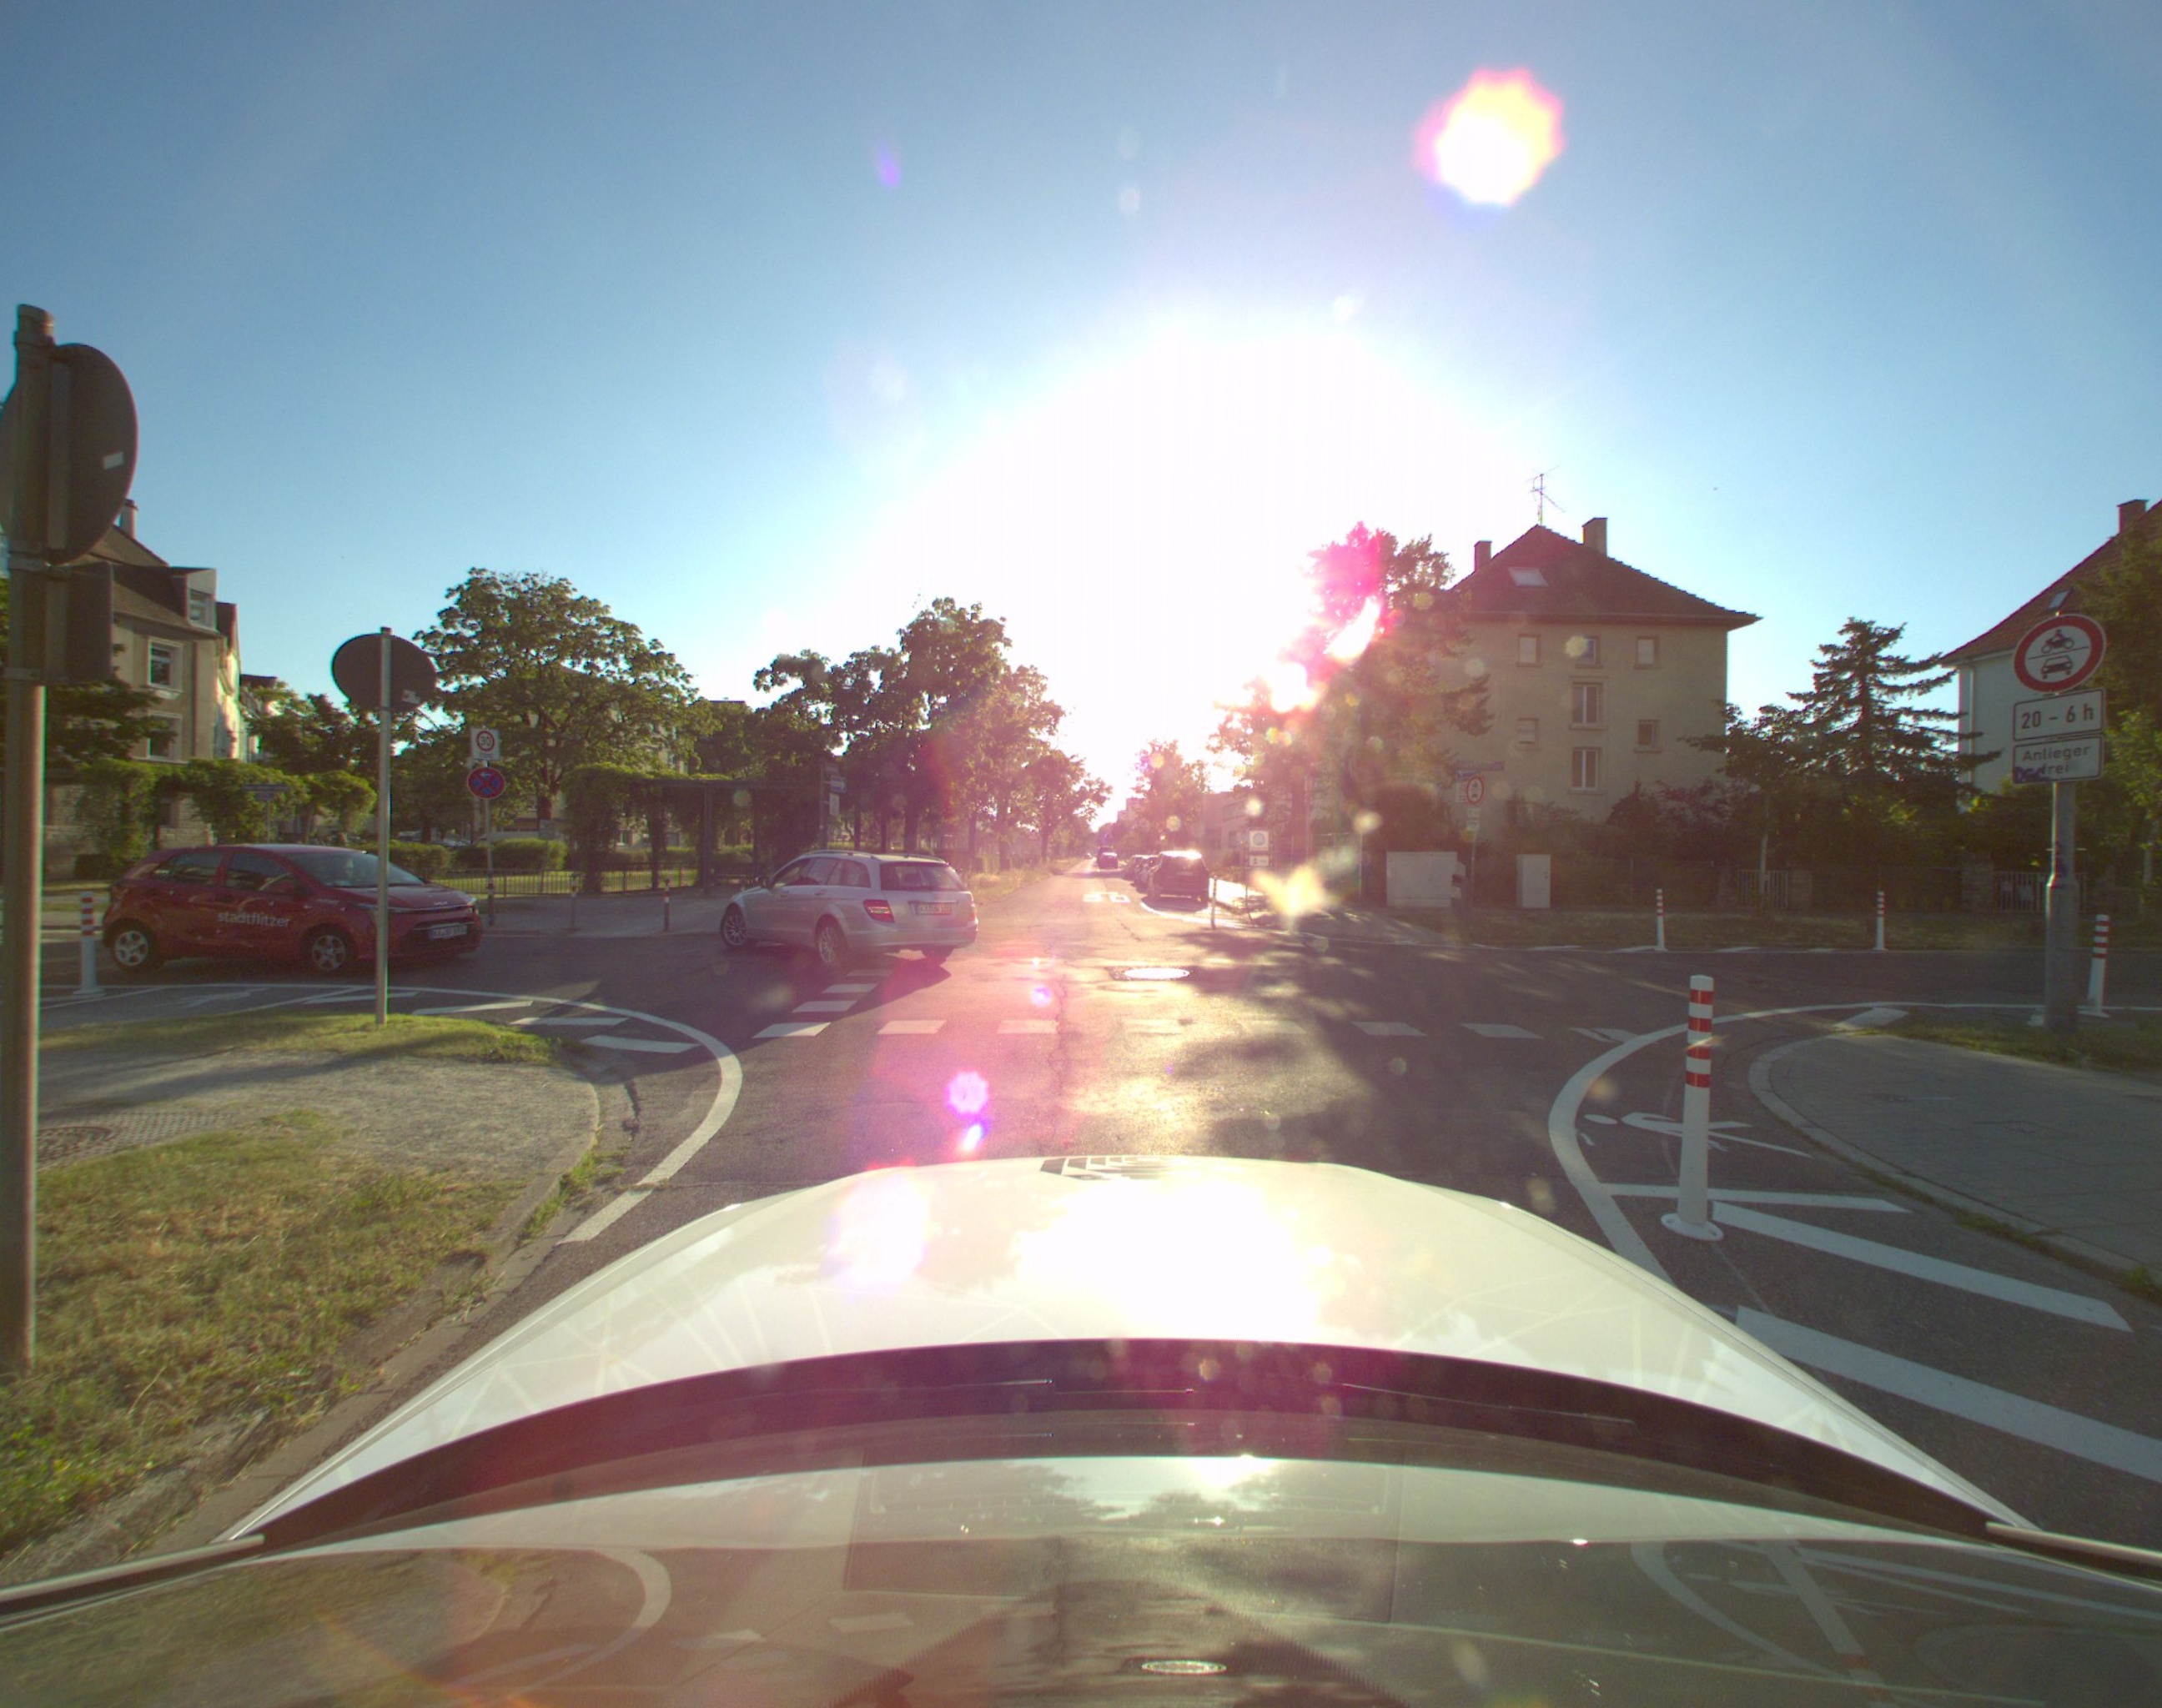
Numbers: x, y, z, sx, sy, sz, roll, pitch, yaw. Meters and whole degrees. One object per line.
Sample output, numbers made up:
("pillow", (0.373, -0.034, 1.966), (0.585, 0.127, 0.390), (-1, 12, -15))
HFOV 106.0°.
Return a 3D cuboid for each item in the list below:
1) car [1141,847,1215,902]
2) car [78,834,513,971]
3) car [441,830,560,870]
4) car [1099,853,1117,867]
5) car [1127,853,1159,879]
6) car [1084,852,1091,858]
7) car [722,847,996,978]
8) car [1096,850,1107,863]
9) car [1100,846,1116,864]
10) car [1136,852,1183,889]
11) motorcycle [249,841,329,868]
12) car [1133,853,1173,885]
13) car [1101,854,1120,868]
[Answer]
("car", (3.205, 0.654, 27.745), (1.812, 1.641, 4.213), (3, 0, -2))
("car", (-9.495, 0.559, 10.065), (3.744, 1.526, 1.772), (0, 0, 3))
("car", (-41.599, -0.259, 58.636), (6.707, 2.745, 2.296), (1, 0, -29))
("car", (2.923, 0.617, 89.663), (1.725, 1.518, 3.757), (1, 0, -2))
("car", (3.827, 0.707, 50.701), (1.759, 1.526, 3.773), (0, 0, 0))
("car", (1.840, 0.275, 233.029), (1.860, 1.618, 3.999), (1, 0, 0))
("car", (-3.208, 0.654, 11.267), (4.164, 1.473, 1.833), (0, 0, 45))
("car", (3.575, 0.402, 142.488), (1.986, 2.123, 4.001), (1, 0, 1))
("car", (3.384, 0.130, 103.092), (1.986, 2.123, 4.001), (1, 0, 1))
("car", (3.468, 0.709, 36.547), (1.759, 1.526, 3.773), (0, 0, 1))
("motorcycle", (-44.371, 0.019, 45.676), (3.222, 1.487, 0.850), (0, -1, -12))
("car", (3.639, 0.733, 41.532), (1.724, 1.518, 3.760), (1, 0, 1))
("car", (3.049, 0.720, 85.585), (1.752, 1.518, 3.757), (1, 0, -2))
